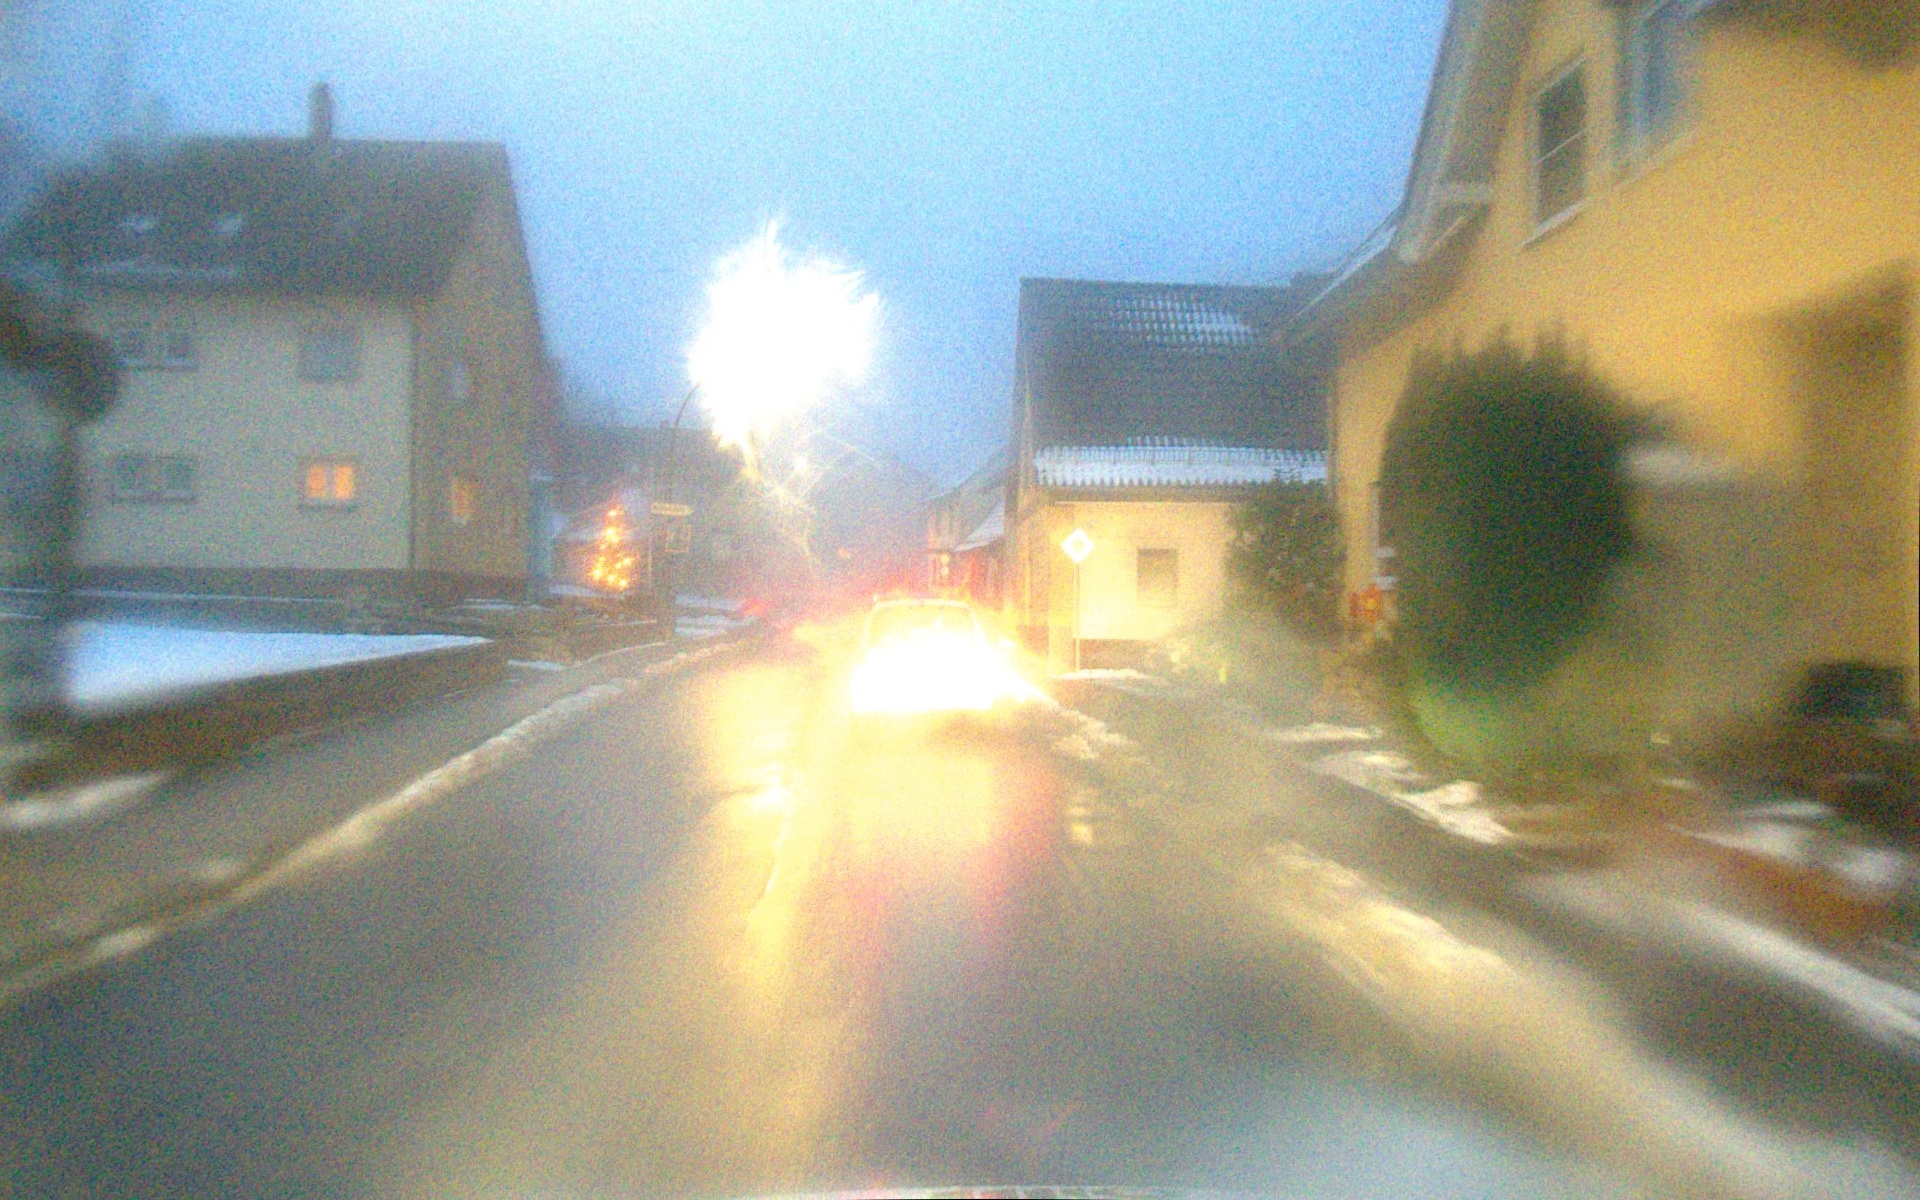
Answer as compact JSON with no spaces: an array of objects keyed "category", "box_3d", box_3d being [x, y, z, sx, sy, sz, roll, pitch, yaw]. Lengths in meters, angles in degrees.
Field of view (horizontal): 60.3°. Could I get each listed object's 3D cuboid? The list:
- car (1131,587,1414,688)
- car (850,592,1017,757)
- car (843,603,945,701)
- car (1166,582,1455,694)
[{"category":"car","box_3d":[4.964,0.587,26.601,4.090,1.458,1.898,1,1,-7]},{"category":"car","box_3d":[-0.389,0.779,18.602,1.613,1.624,3.696,2,-1,-4]},{"category":"car","box_3d":[-1.247,0.903,29.840,1.613,1.624,3.695,2,-1,-5]},{"category":"car","box_3d":[4.950,0.507,23.630,3.671,1.523,1.818,0,0,-8]}]
